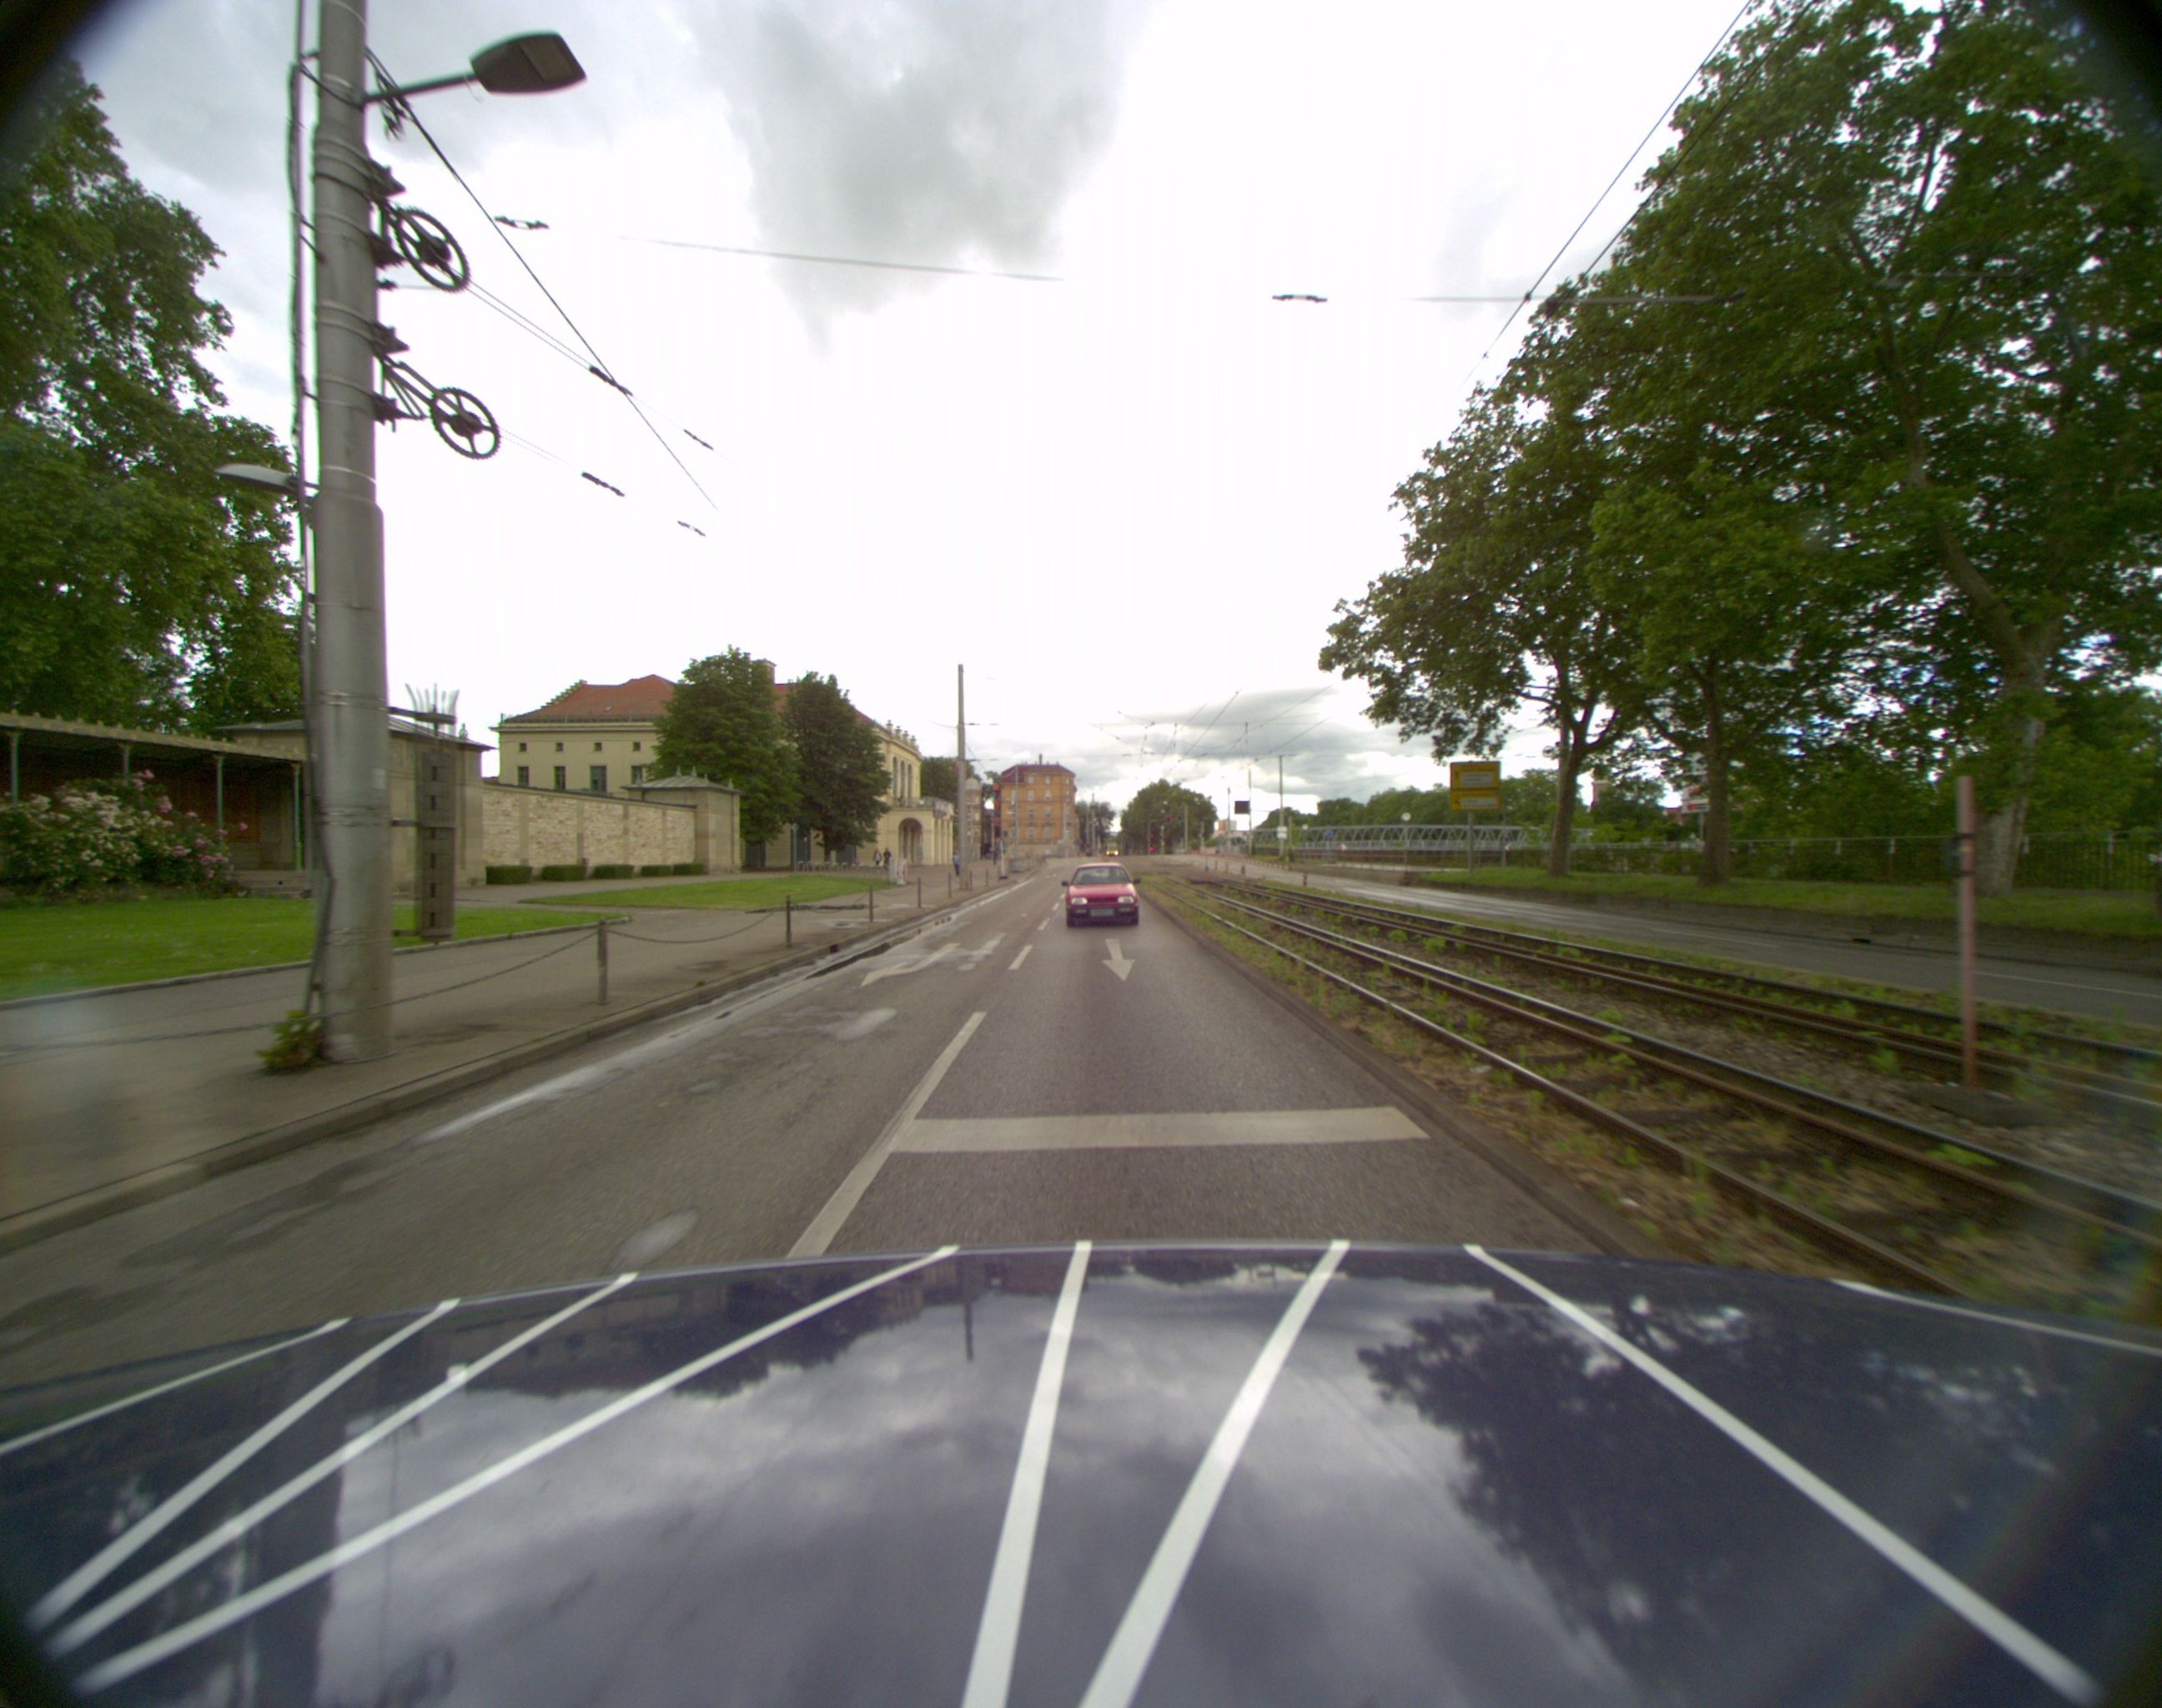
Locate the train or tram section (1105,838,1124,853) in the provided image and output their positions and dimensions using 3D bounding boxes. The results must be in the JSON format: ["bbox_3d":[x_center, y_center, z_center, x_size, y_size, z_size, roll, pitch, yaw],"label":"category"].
[{"bbox_3d":[7.802,-2.138,178.513,3.739,3.346,17.551,1,2,0],"label":"train or tram section"}]

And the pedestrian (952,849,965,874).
[{"bbox_3d":[-8.509,0.502,52.818,0.672,1.758,0.936,0,1,1],"label":"pedestrian"}]

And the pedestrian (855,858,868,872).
[{"bbox_3d":[-16.225,0.794,56.221,0.760,0.995,0.595,-1,1,-34],"label":"pedestrian"}]

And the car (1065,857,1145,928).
[{"bbox_3d":[0.541,0.861,18.667,1.681,1.434,4.119,-2,1,1],"label":"car"}]

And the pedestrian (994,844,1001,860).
[{"bbox_3d":[-9.221,-0.200,84.032,0.672,1.758,0.936,0,1,1],"label":"pedestrian"}]

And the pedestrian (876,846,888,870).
[{"bbox_3d":[-14.615,0.300,55.790,0.596,1.782,0.808,0,1,1],"label":"pedestrian"}]

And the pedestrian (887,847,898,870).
[{"bbox_3d":[-13.870,0.303,55.795,0.598,1.689,0.790,0,1,1],"label":"pedestrian"}]
